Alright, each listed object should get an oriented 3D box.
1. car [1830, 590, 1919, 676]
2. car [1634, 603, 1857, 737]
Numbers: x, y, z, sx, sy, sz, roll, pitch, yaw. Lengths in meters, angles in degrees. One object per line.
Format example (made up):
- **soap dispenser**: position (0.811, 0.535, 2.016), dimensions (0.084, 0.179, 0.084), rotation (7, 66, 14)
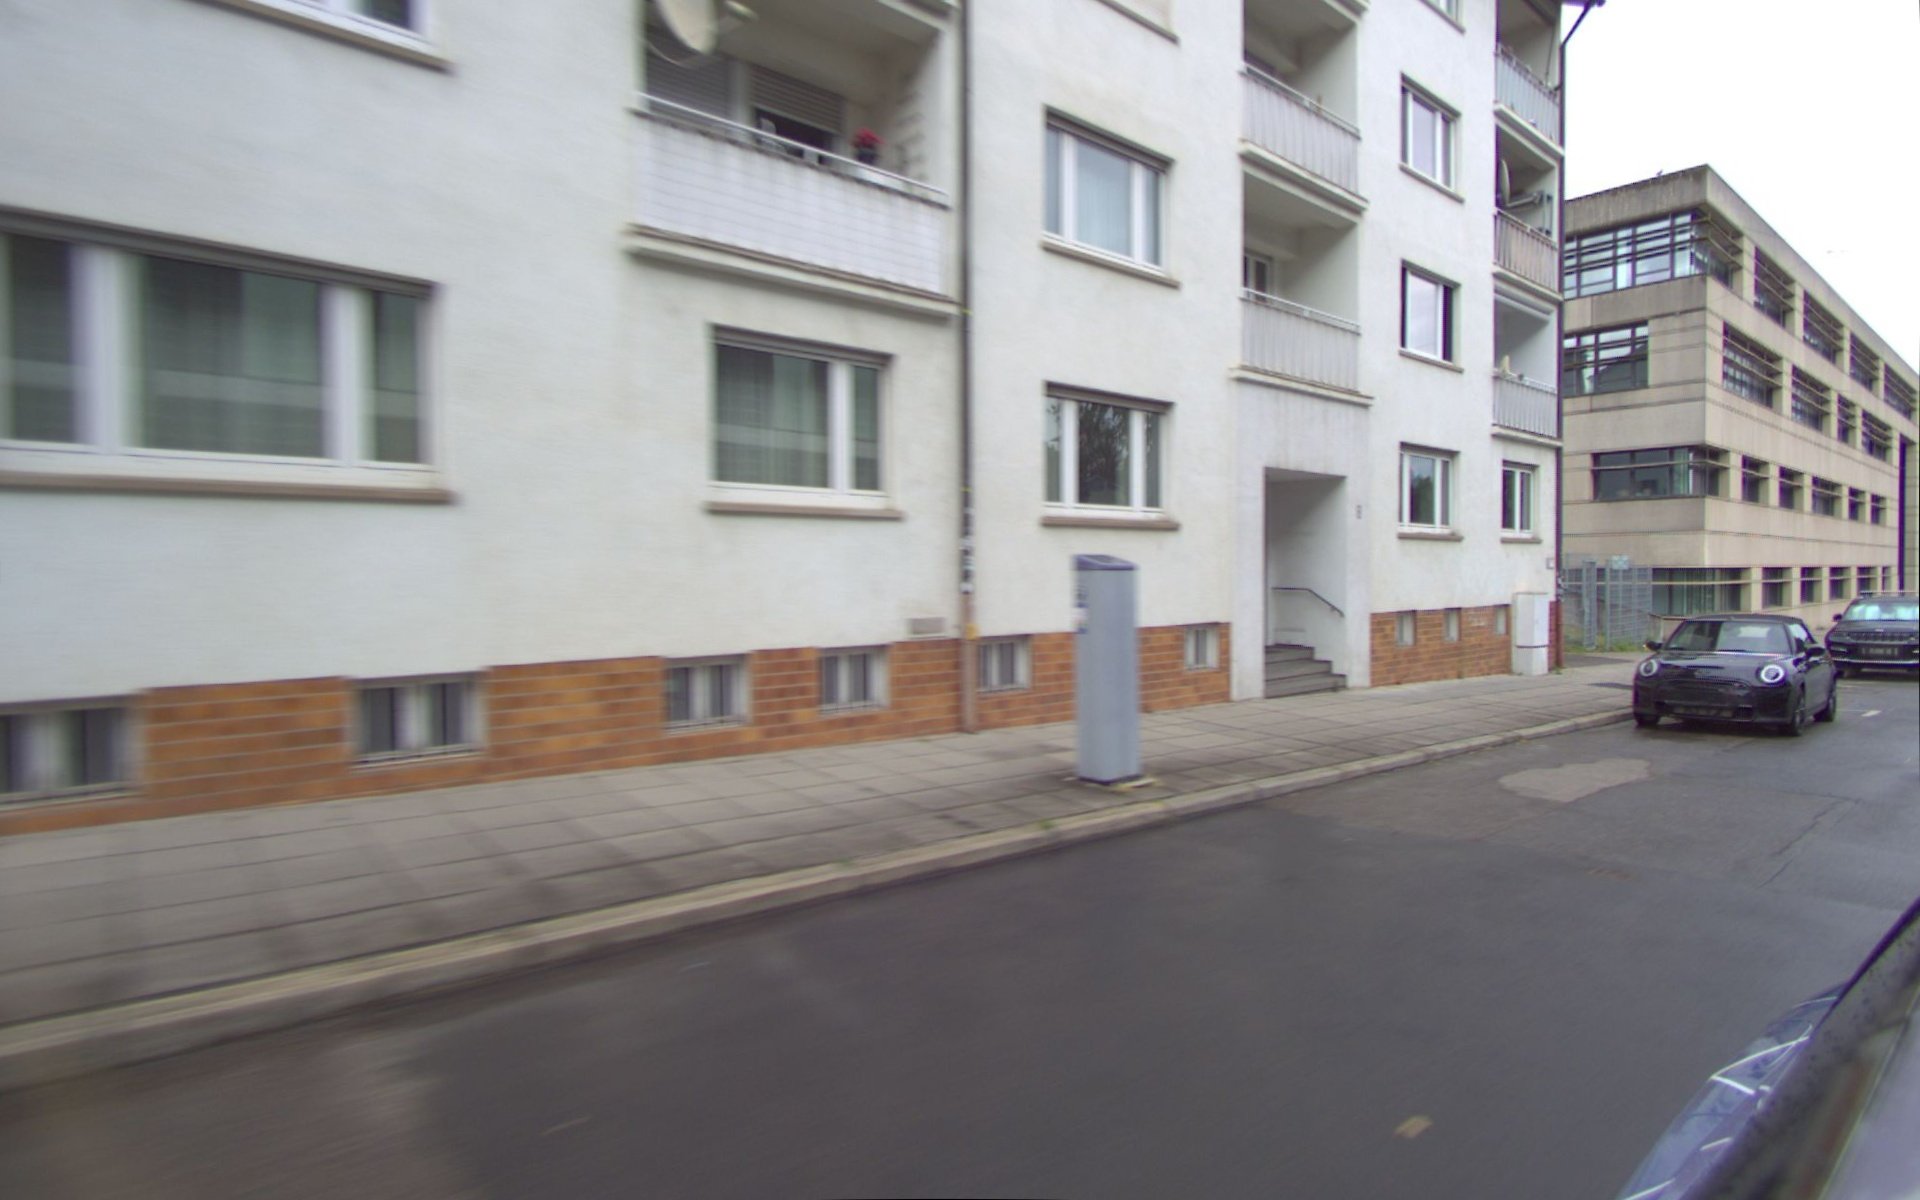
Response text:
- **car**: position (21.353, 0.675, 22.851), dimensions (4.713, 1.772, 1.939), rotation (0, 0, -41)
- **car**: position (10.446, 0.801, 13.379), dimensions (3.699, 1.478, 1.676), rotation (0, 1, -41)
